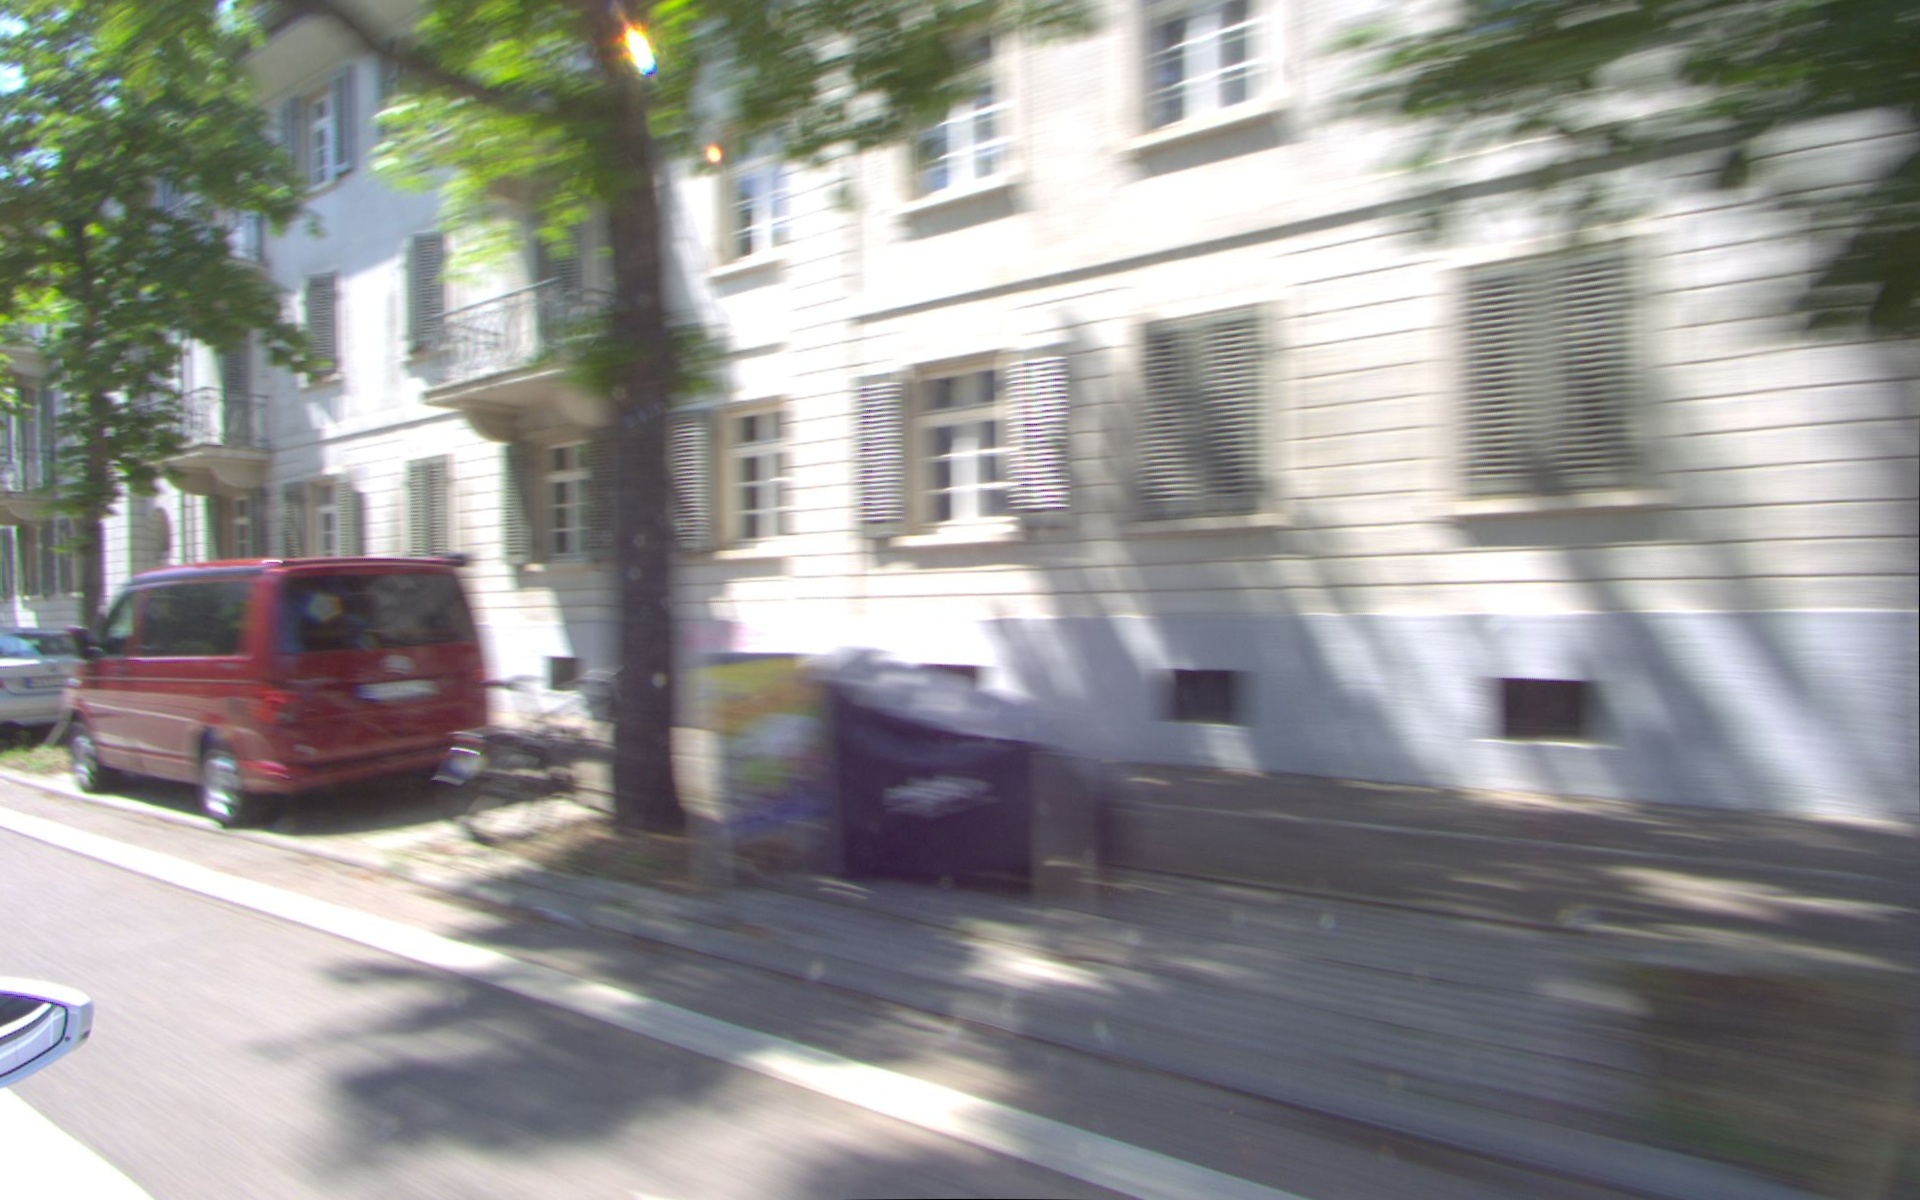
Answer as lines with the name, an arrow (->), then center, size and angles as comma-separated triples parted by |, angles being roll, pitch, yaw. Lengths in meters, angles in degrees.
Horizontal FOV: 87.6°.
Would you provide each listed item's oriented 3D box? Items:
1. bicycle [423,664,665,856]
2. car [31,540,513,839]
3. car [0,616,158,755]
bicycle -> -2.768, 1.017, 6.863 | 0.359, 1.035, 1.695 | -1, 0, 26
car -> -6.307, 0.667, 8.979 | 4.906, 2.040, 1.855 | -1, -1, 33
car -> -12.748, 1.060, 13.319 | 4.810, 1.597, 1.855 | -2, -1, 33
